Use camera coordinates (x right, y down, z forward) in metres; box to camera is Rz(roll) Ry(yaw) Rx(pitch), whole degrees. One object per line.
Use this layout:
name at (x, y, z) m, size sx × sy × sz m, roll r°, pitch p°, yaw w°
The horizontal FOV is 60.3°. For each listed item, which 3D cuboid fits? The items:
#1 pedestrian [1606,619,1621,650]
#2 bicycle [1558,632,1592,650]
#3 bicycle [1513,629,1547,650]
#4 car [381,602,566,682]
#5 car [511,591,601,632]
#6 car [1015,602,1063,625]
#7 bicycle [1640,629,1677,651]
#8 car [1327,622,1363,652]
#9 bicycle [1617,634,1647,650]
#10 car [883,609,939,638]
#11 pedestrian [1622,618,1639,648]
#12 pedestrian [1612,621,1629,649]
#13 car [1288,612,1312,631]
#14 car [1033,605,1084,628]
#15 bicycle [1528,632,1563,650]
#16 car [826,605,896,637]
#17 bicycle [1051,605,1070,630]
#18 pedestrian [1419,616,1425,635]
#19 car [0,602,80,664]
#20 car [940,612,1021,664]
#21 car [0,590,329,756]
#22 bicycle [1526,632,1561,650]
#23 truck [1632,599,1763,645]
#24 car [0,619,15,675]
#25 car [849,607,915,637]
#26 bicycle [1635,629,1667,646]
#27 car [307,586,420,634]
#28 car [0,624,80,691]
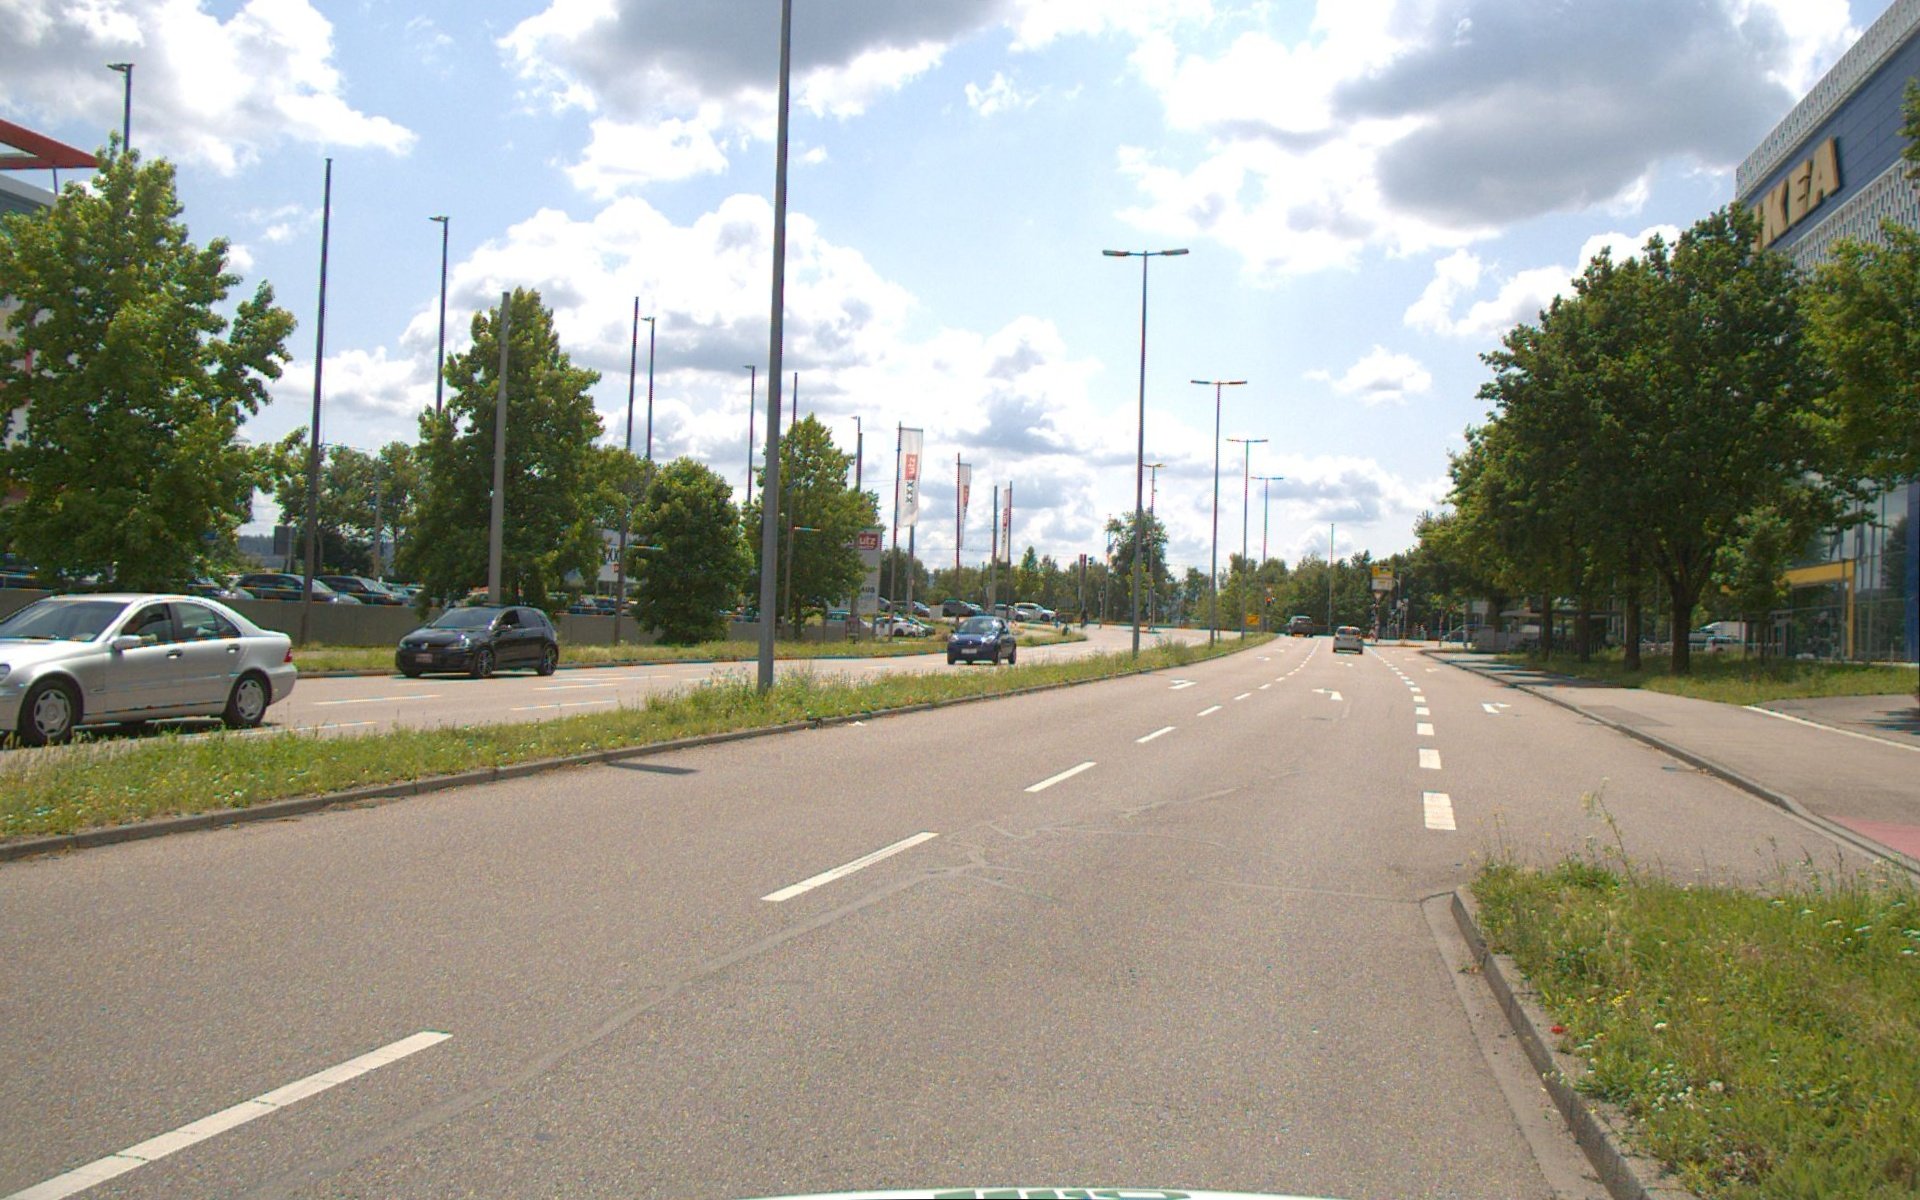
pedestrian at (36.275, 1.918, 91.839) m, size 0.520 × 1.752 × 0.625 m, roll 3°, pitch -3°, yaw -41°
bicycle at (35.948, 2.387, 96.648) m, size 1.822 × 1.012 × 0.424 m, roll 0°, pitch -2°, yaw 8°
bicycle at (33.427, 2.315, 97.045) m, size 1.855 × 1.190 × 0.424 m, roll 0°, pitch -1°, yaw 14°
car at (-9.702, 0.807, 33.313) m, size 1.585 × 1.495 × 4.119 m, roll 1°, pitch 0°, yaw 16°
car at (-22.208, 0.627, 90.929) m, size 4.256 × 2.024 × 2.002 m, roll 2°, pitch -1°, yaw 12°
car at (7.468, 1.301, 156.284) m, size 4.256 × 2.024 × 2.002 m, roll 1°, pitch -1°, yaw 12°
bicycle at (42.530, 2.433, 100.746) m, size 2.096 × 1.251 × 0.721 m, roll 0°, pitch -1°, yaw 23°
car at (22.194, 2.118, 95.392) m, size 1.854 × 1.495 × 3.836 m, roll 3°, pitch 1°, yaw 11°
bicycle at (44.703, 2.808, 110.020) m, size 1.822 × 1.012 × 0.424 m, roll 1°, pitch 0°, yaw 14°
car at (-3.570, 1.713, 121.579) m, size 3.904 × 2.049 × 2.000 m, roll 1°, pitch -1°, yaw 2°
pedestrian at (47.589, 2.345, 117.420) m, size 0.988 × 2.108 × 0.973 m, roll 1°, pitch -2°, yaw 26°
pedestrian at (46.769, 2.457, 117.097) m, size 0.988 × 1.935 × 0.973 m, roll 1°, pitch -3°, yaw 26°
car at (29.954, 1.918, 145.886) m, size 1.854 × 1.495 × 3.836 m, roll 3°, pitch 1°, yaw 9°
car at (8.873, 1.493, 148.763) m, size 4.256 × 2.024 × 2.002 m, roll 1°, pitch -1°, yaw 12°
bicycle at (32.956, 2.330, 93.119) m, size 1.822 × 1.012 × 0.424 m, roll 0°, pitch -1°, yaw 8°
car at (-6.616, 1.401, 110.434) m, size 4.256 × 2.024 × 2.002 m, roll 1°, pitch -1°, yaw 12°
bicycle at (7.081, 1.237, 116.901) m, size 0.996 × 1.705 × 2.050 m, roll 1°, pitch 0°, yaw 13°
pedestrian at (42.379, 2.324, 151.687) m, size 0.512 × 1.752 × 0.730 m, roll 1°, pitch -1°, yaw 16°
car at (-26.513, 0.881, 45.460) m, size 3.902 × 1.624 × 1.847 m, roll 1°, pitch 0°, yaw 16°
car at (0.684, 1.189, 52.988) m, size 1.702 × 1.500 × 3.679 m, roll 1°, pitch 1°, yaw 15°
car at (-8.668, 0.636, 16.781) m, size 1.754 × 1.443 × 4.677 m, roll 1°, pitch 0°, yaw 16°
bicycle at (33.031, 2.340, 93.604) m, size 1.822 × 1.012 × 0.424 m, roll -1°, pitch -1°, yaw 8°
truck at (74.714, 2.225, 167.783) m, size 11.703 × 4.176 × 2.954 m, roll 2°, pitch 0°, yaw 13°
car at (-36.625, 1.640, 59.526) m, size 4.256 × 2.024 × 2.002 m, roll 1°, pitch -1°, yaw 12°
car at (-5.537, 1.585, 117.619) m, size 4.256 × 2.024 × 2.002 m, roll 1°, pitch -1°, yaw 12°
bicycle at (44.301, 2.380, 106.106) m, size 1.822 × 1.012 × 0.465 m, roll 2°, pitch 0°, yaw 9°
car at (-26.584, 0.444, 73.787) m, size 4.256 × 2.024 × 2.002 m, roll 1°, pitch -1°, yaw 12°
car at (-30.781, 1.820, 53.291) m, size 3.902 × 2.049 × 2.002 m, roll 1°, pitch 0°, yaw 12°
